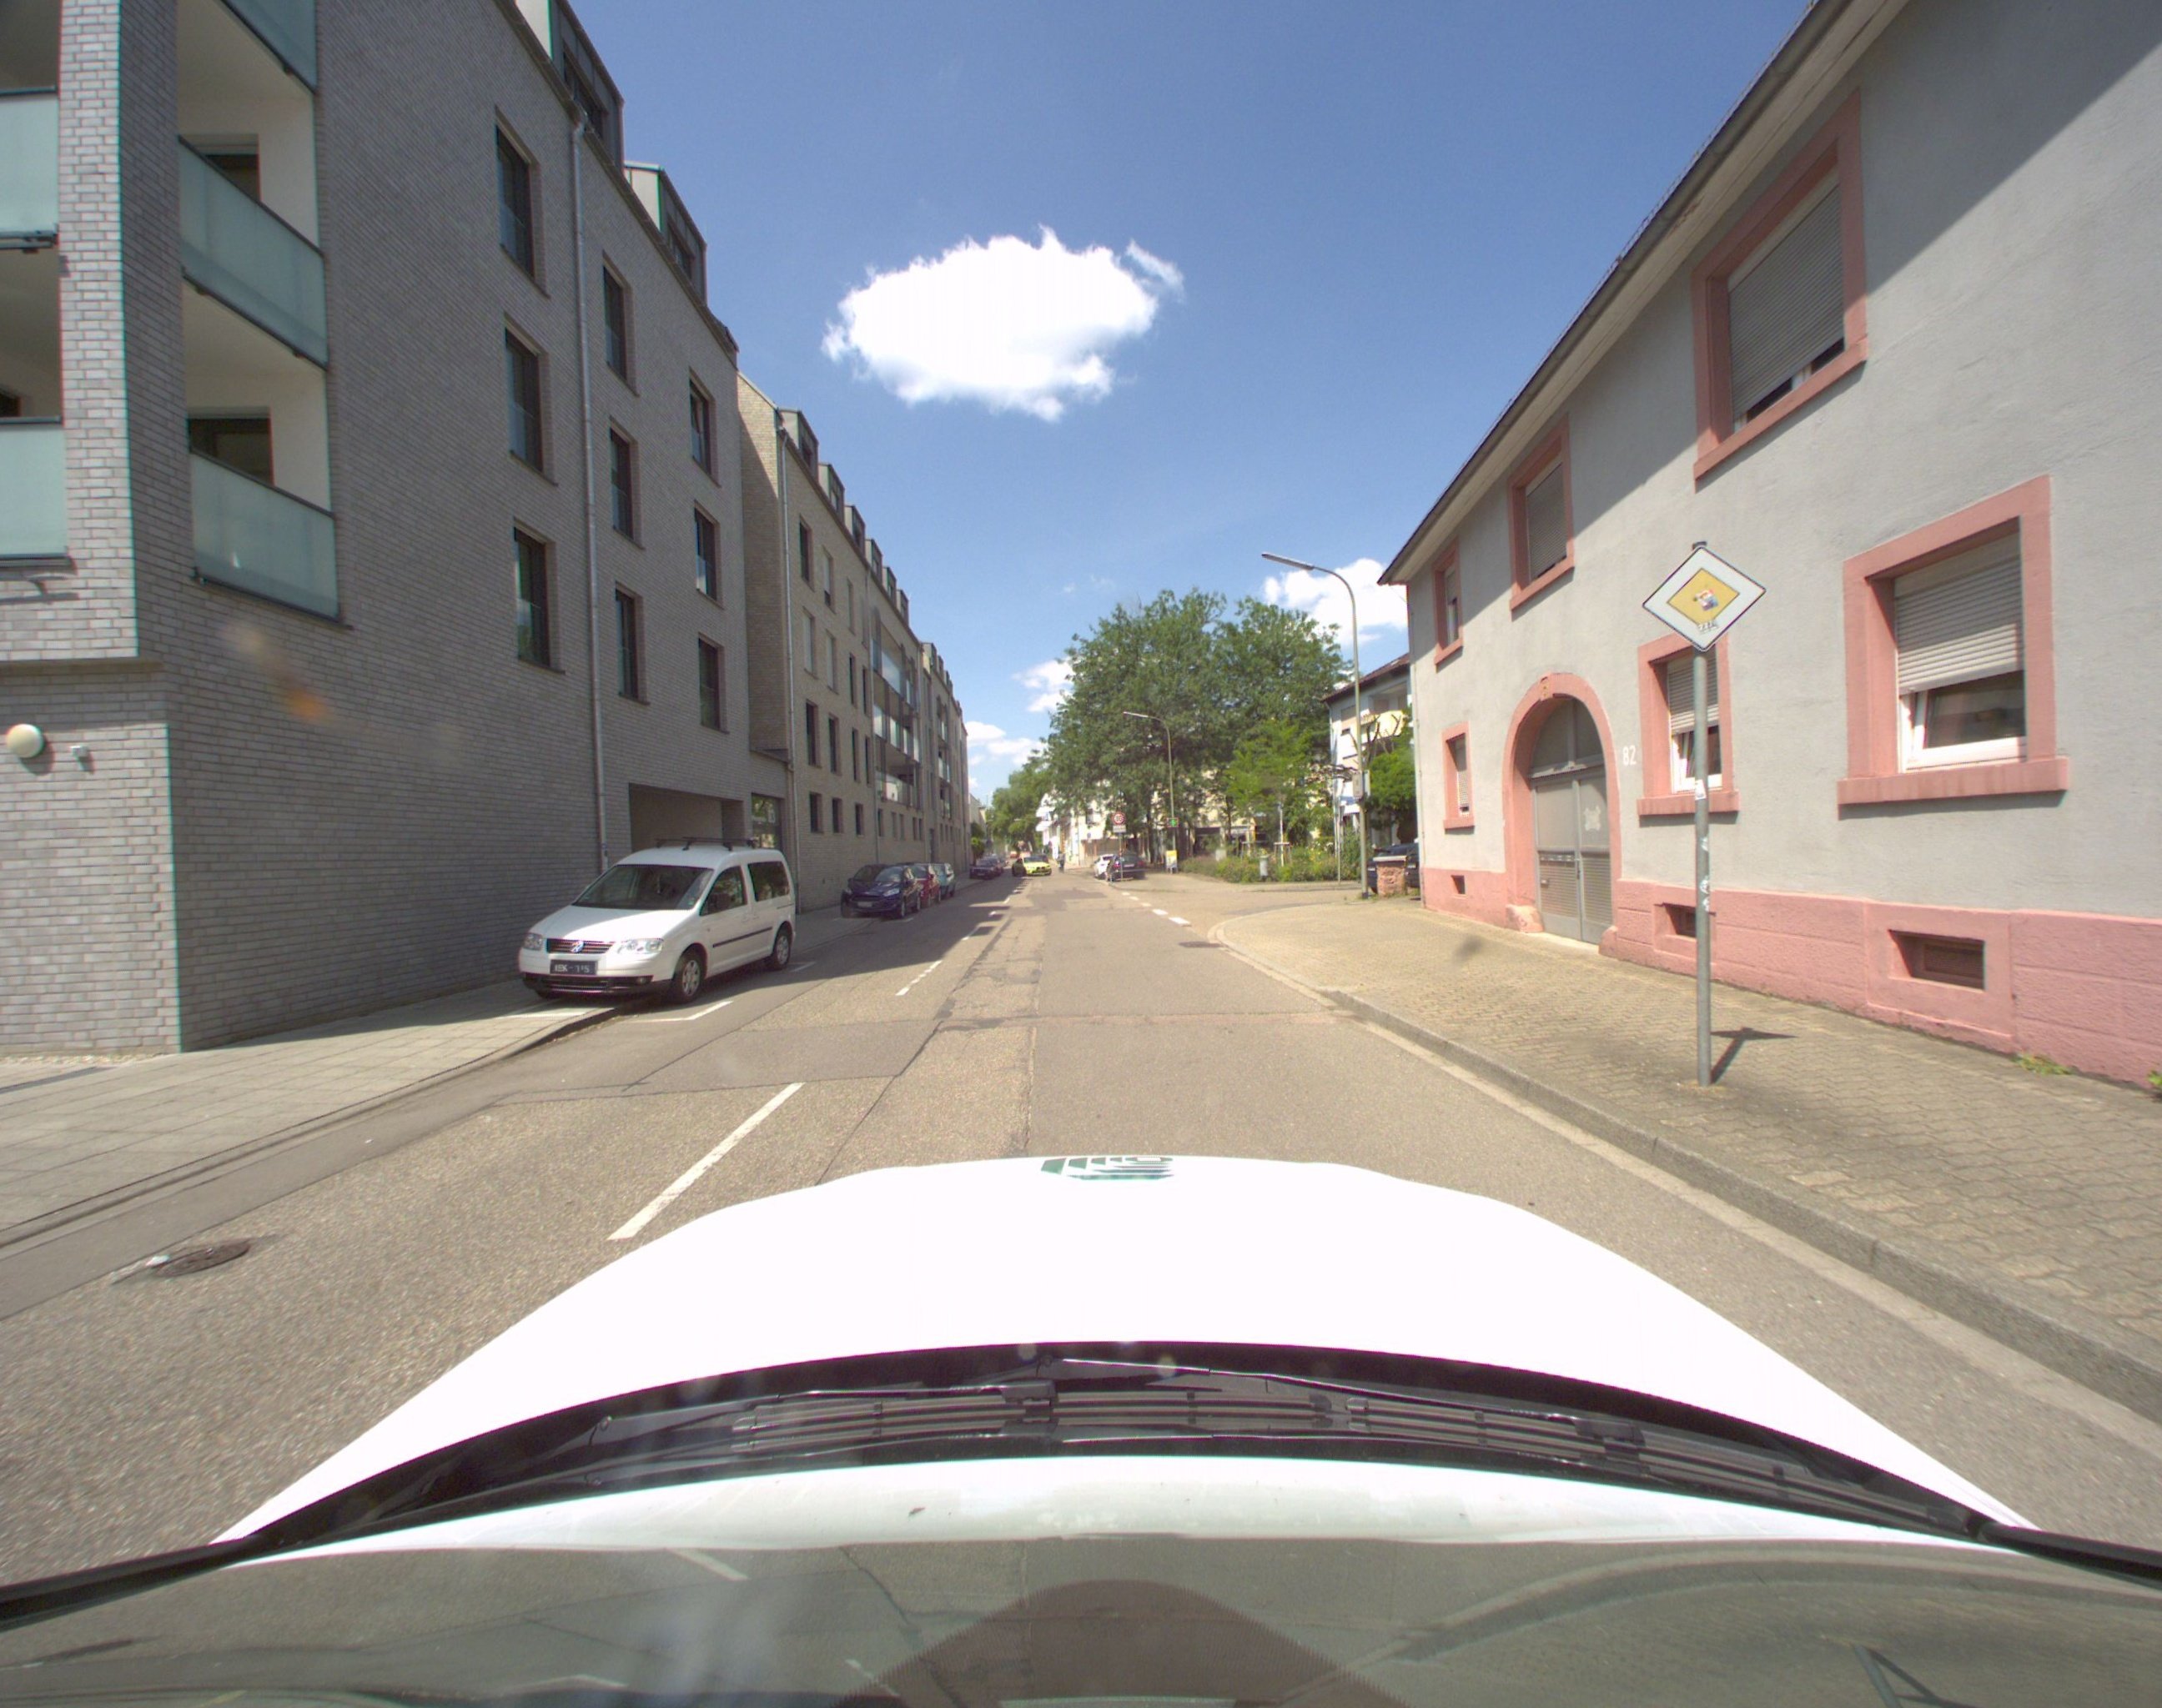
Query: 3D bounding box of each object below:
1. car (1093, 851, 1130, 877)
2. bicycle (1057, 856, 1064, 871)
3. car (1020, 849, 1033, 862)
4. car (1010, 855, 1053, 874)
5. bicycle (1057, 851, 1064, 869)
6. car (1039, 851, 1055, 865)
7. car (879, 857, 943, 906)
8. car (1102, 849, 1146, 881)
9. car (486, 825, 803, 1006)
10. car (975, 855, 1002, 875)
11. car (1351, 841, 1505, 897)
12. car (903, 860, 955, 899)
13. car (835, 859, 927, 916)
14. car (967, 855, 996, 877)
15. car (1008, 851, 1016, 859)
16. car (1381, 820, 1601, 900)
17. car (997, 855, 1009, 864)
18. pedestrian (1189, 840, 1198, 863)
[{"bbox_3d":[1.758,0.565,48.281,1.775,1.420,3.995,-2,0,-3],"label":"car"},{"bbox_3d":[-1.641,0.762,65.692,0.482,1.114,1.194,-2,0,-3],"label":"bicycle"},{"bbox_3d":[-8.331,0.211,124.064,1.835,2.013,3.995,-2,1,-3],"label":"car"},{"bbox_3d":[-3.673,0.747,59.982,2.000,1.381,4.363,0,0,-20],"label":"car"},{"bbox_3d":[-1.657,0.476,65.721,0.476,1.490,0.575,-2,0,-4],"label":"bicycle"},{"bbox_3d":[-3.888,0.438,93.292,1.711,1.402,3.997,-2,1,-2],"label":"car"},{"bbox_3d":[-5.820,0.900,28.272,1.587,1.554,3.567,-1,0,-3],"label":"car"},{"bbox_3d":[2.133,0.535,41.549,1.689,1.420,3.995,-4,0,-3],"label":"car"},{"bbox_3d":[-5.357,0.634,10.784,1.750,1.892,4.338,0,0,2],"label":"car"},{"bbox_3d":[-7.180,0.803,63.484,1.728,1.442,3.996,-2,0,-3],"label":"car"},{"bbox_3d":[9.721,0.415,22.951,3.590,1.449,1.740,-1,-1,-4],"label":"car"},{"bbox_3d":[-6.056,0.977,32.759,1.587,1.456,3.699,0,0,-3],"label":"car"},{"bbox_3d":[-5.656,0.889,23.498,1.718,1.456,4.003,-1,0,-1],"label":"car"},{"bbox_3d":[-7.091,0.851,58.460,1.728,1.442,3.996,-2,0,-3],"label":"car"},{"bbox_3d":[-19.859,0.294,233.849,2.154,2.013,3.992,-2,0,-6],"label":"car"},{"bbox_3d":[9.553,0.151,19.226,4.253,1.530,1.742,-4,-1,0],"label":"car"},{"bbox_3d":[-14.352,1.044,149.455,1.990,1.519,3.993,-2,0,-5],"label":"car"},{"bbox_3d":[9.215,-0.236,66.616,0.590,1.859,0.606,-2,0,16],"label":"pedestrian"}]
